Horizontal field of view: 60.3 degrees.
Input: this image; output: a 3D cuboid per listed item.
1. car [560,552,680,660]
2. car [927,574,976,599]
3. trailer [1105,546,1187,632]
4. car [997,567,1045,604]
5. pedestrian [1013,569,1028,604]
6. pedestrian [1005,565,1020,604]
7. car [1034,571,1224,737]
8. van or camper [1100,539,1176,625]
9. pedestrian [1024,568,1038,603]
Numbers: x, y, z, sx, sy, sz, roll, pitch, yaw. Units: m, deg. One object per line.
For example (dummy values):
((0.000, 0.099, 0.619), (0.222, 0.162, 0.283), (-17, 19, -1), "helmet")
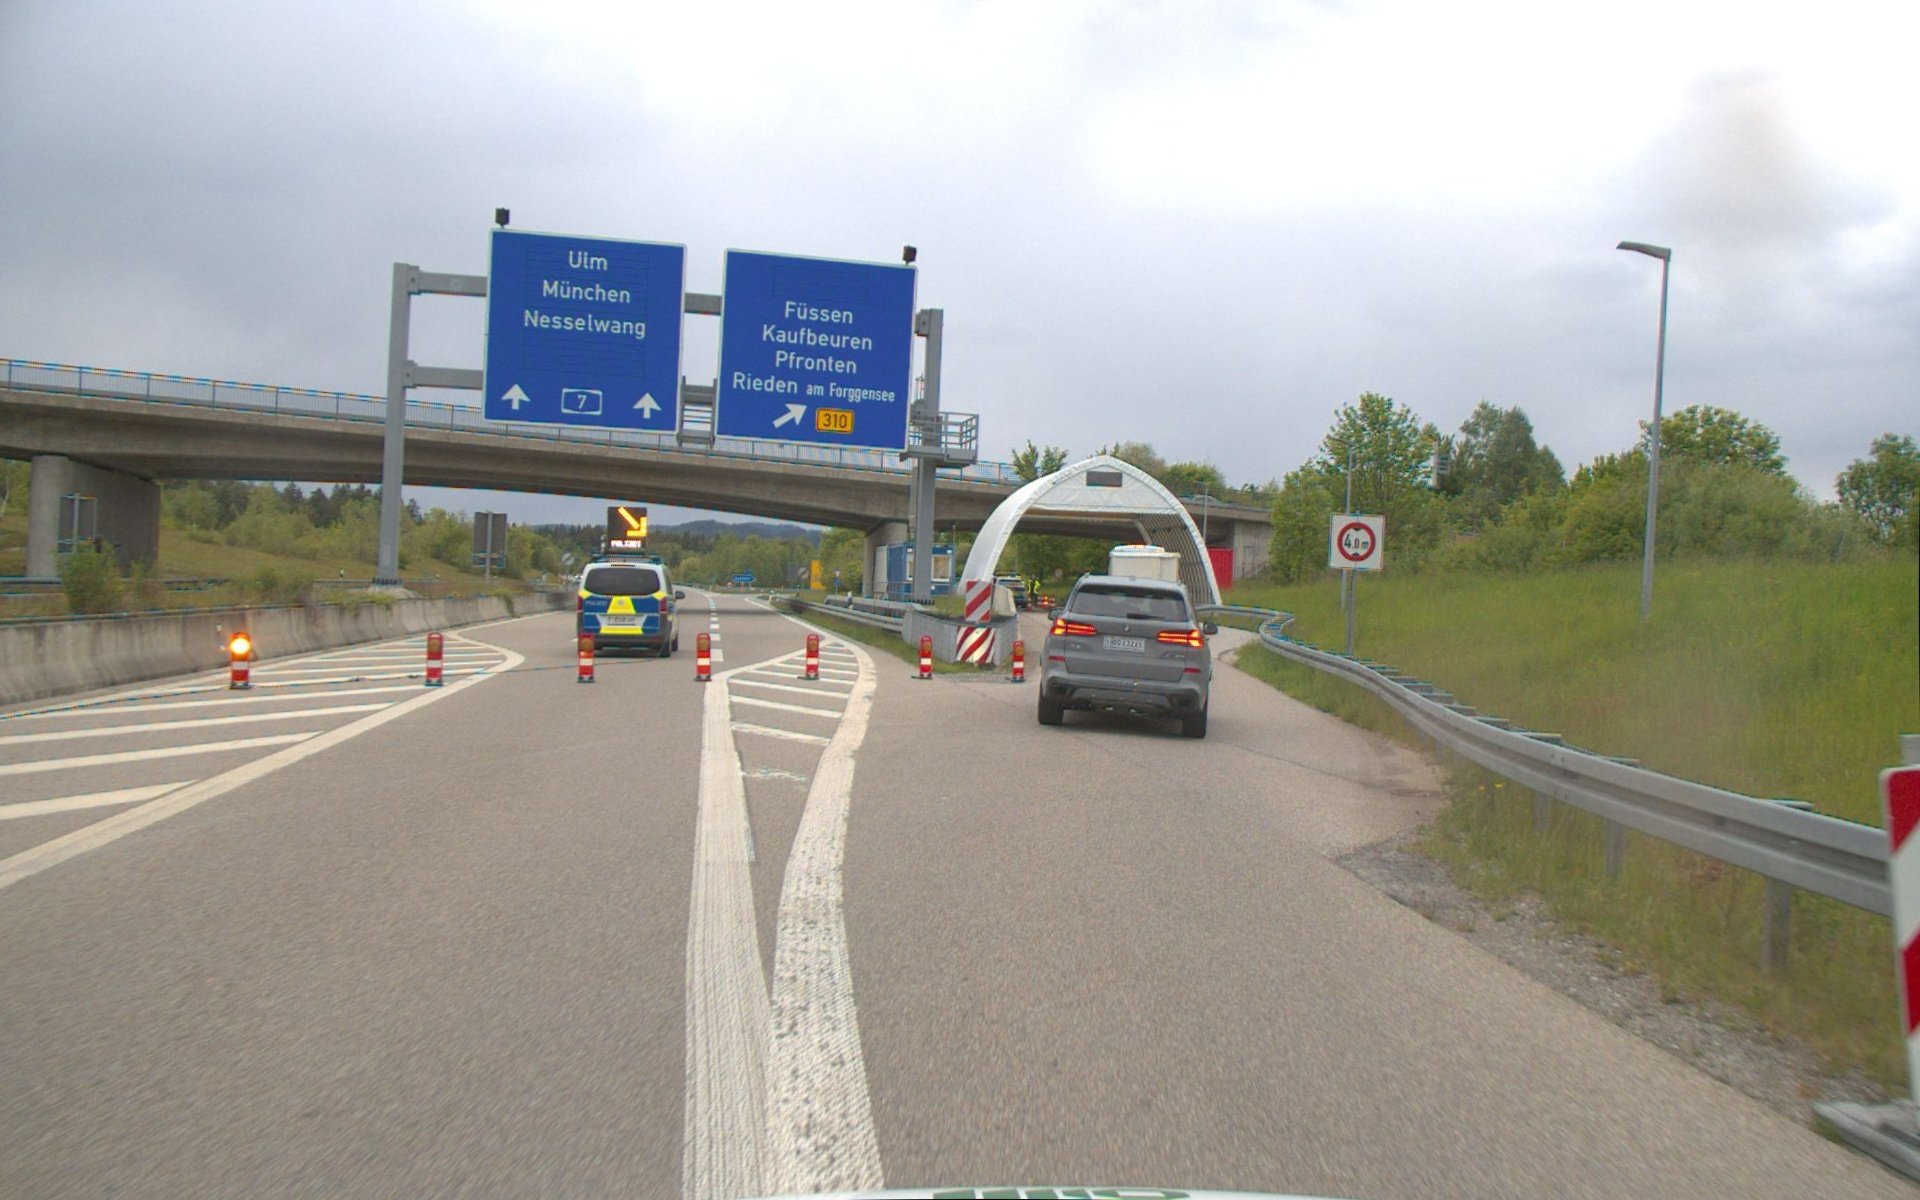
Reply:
((-7.038, 0.073, 34.740), (2.244, 2.048, 5.039), (1, 1, -10), "car")
((-0.505, -0.802, 97.768), (1.498, 1.467, 3.283), (1, 1, -30), "car")
((5.755, -0.310, 51.902), (2.231, 2.473, 6.821), (1, 0, 4), "trailer")
((3.024, -0.720, 82.412), (1.954, 1.803, 3.762), (1, 1, -5), "car")
((3.096, -0.695, 84.966), (0.706, 1.806, 0.689), (1, 0, -4), "pedestrian")
((2.731, -0.811, 86.078), (0.706, 1.979, 0.689), (1, 0, -4), "pedestrian")
((2.143, 0.573, 19.971), (1.951, 1.749, 4.003), (1, 0, 10), "car")
((6.207, -0.597, 58.266), (2.112, 2.812, 5.872), (1, 0, 1), "van or camper")
((3.675, -0.737, 85.778), (0.635, 1.806, 0.605), (1, 0, -6), "pedestrian")
